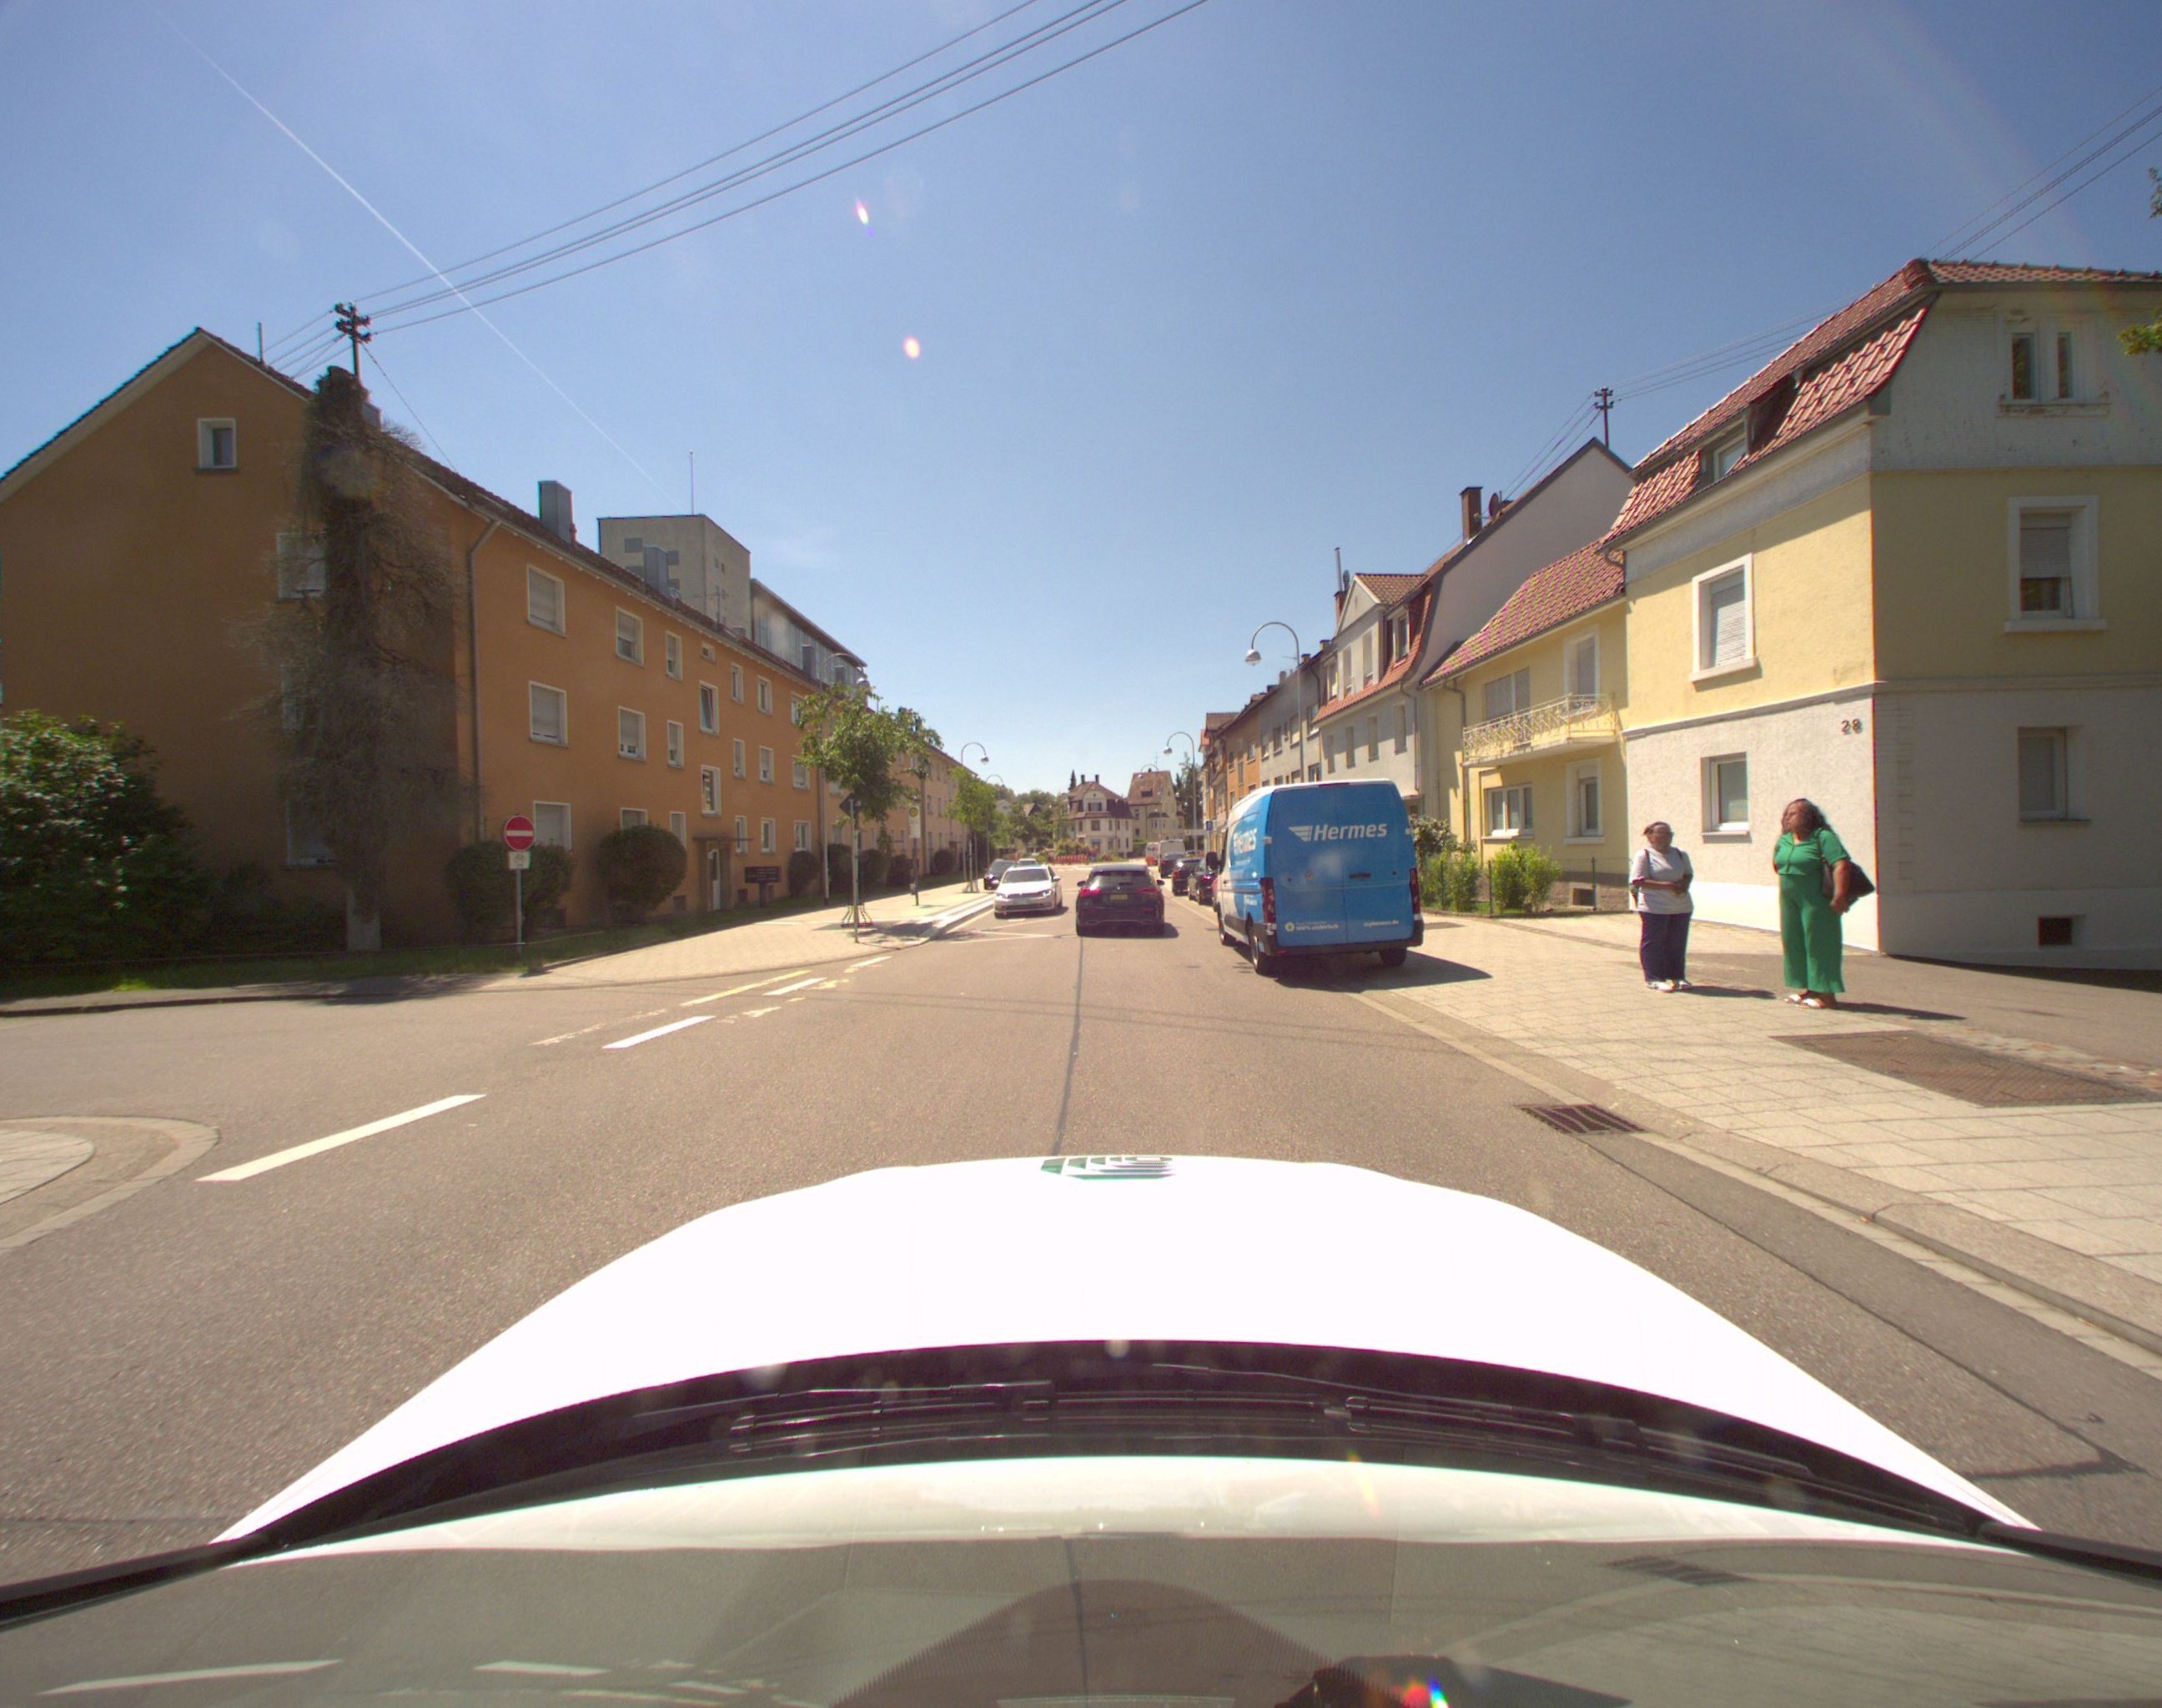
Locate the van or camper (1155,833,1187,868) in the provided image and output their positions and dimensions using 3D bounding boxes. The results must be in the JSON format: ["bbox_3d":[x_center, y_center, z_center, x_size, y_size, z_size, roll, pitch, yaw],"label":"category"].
[{"bbox_3d":[7.107,-0.287,65.004,2.155,2.588,5.771,-3,0,3],"label":"van or camper"}]

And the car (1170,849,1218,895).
[{"bbox_3d":[4.579,0.699,33.382,1.720,1.633,4.007,-4,0,6],"label":"car"}]

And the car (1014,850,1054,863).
[{"bbox_3d":[-6.791,0.394,116.985,5.411,1.816,1.990,0,0,-15],"label":"car"}]

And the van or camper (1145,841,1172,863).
[{"bbox_3d":[9.192,-0.275,96.880,2.187,2.610,4.020,-1,0,20],"label":"van or camper"}]

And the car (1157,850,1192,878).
[{"bbox_3d":[6.184,0.621,53.441,1.883,1.607,4.378,-3,0,11],"label":"car"}]

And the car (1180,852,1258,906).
[{"bbox_3d":[4.460,0.766,27.026,1.797,1.475,4.722,-5,0,1],"label":"car"}]

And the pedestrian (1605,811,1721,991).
[{"bbox_3d":[5.693,0.442,7.990,0.635,1.654,0.521,-5,1,-1],"label":"pedestrian"}]

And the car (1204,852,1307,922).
[{"bbox_3d":[4.372,0.756,20.991,1.797,1.530,4.152,-3,0,1],"label":"car"}]

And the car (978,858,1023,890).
[{"bbox_3d":[-4.237,1.018,43.578,1.851,1.506,4.563,-2,1,1],"label":"car"}]

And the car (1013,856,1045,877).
[{"bbox_3d":[-3.792,0.917,59.991,1.987,1.420,4.088,-2,-1,1],"label":"car"}]

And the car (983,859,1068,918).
[{"bbox_3d":[-1.575,0.977,24.679,1.985,1.507,4.292,-2,1,4],"label":"car"}]

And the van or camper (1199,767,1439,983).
[{"bbox_3d":[3.299,0.277,12.876,2.100,2.467,6.180,-3,-1,2],"label":"van or camper"}]

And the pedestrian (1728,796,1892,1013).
[{"bbox_3d":[6.210,0.404,6.969,0.521,1.706,0.799,-5,1,-18],"label":"pedestrian"}]

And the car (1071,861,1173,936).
[{"bbox_3d":[0.882,0.890,17.723,1.945,1.427,4.002,-1,-1,2],"label":"car"}]
